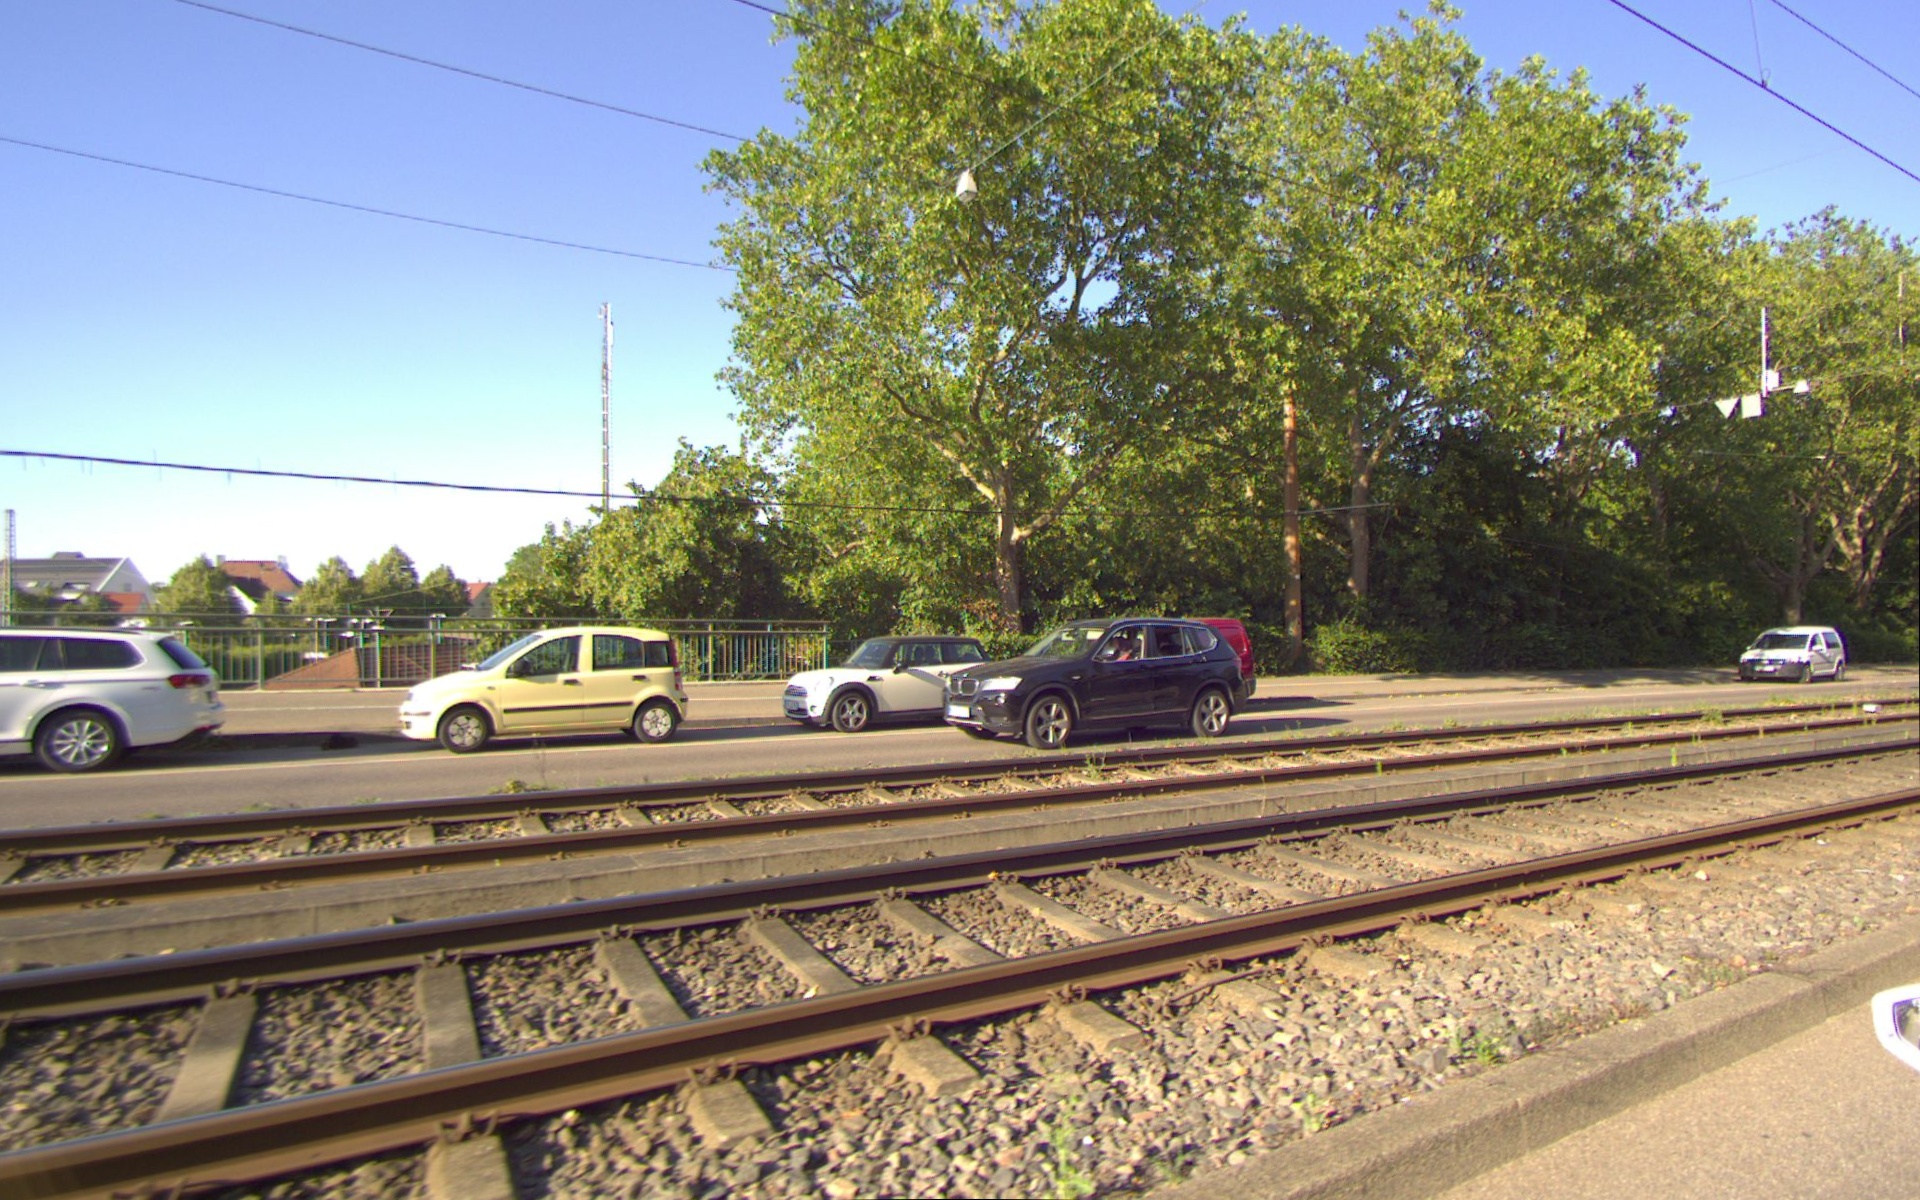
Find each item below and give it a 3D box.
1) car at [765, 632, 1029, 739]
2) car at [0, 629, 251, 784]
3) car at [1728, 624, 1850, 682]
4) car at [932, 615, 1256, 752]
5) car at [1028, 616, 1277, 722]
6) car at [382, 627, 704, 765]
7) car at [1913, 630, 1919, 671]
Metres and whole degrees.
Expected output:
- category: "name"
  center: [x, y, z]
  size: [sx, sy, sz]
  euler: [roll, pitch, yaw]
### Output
- category: "car"
  center: [-0.962, 1.282, 16.102]
  size: [3.958, 1.470, 1.624]
  euler: [1, -1, -32]
- category: "car"
  center: [-10.390, 1.073, 10.356]
  size: [4.899, 1.483, 1.733]
  euler: [0, 0, -31]
- category: "car"
  center: [27.409, 1.730, 33.174]
  size: [4.464, 1.766, 1.733]
  euler: [0, -4, -33]
- category: "car"
  center: [1.915, 1.043, 13.940]
  size: [4.343, 1.645, 1.733]
  euler: [0, -2, -31]
- category: "car"
  center: [3.647, 1.189, 18.753]
  size: [4.630, 1.777, 1.733]
  euler: [1, -1, -31]
- category: "car"
  center: [-5.446, 1.156, 13.234]
  size: [3.745, 1.551, 1.626]
  euler: [1, -1, -30]
- category: "car"
  center: [40.380, 2.023, 40.735]
  size: [3.960, 1.658, 1.731]
  euler: [1, -2, -35]
